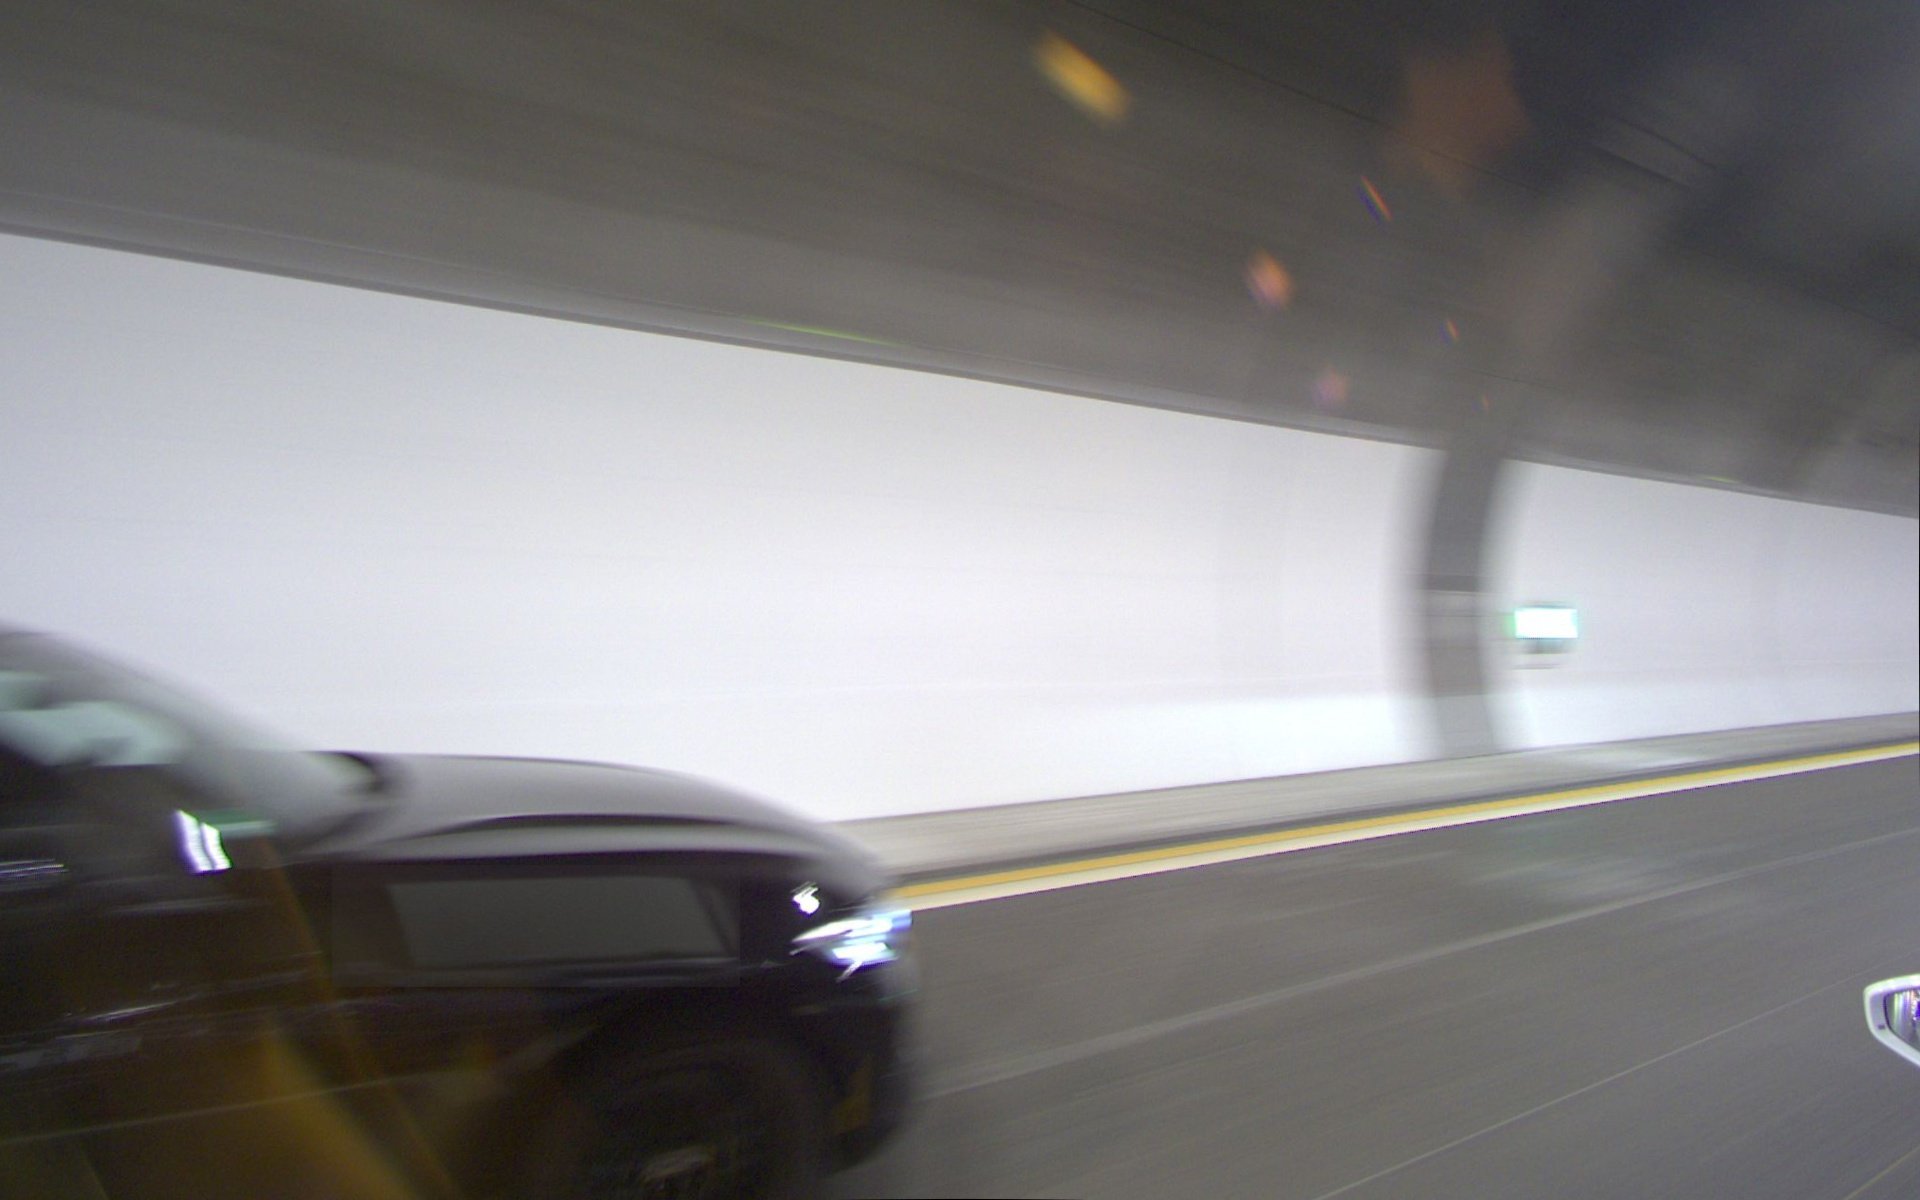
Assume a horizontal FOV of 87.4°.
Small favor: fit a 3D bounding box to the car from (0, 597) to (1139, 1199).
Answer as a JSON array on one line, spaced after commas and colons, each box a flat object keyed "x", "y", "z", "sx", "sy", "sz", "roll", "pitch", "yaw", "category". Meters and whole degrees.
[{"x": -2.093, "y": 0.729, "z": 1.984, "sx": 4.825, "sy": 1.457, "sz": 1.769, "roll": 1, "pitch": 0, "yaw": -30, "category": "car"}]
